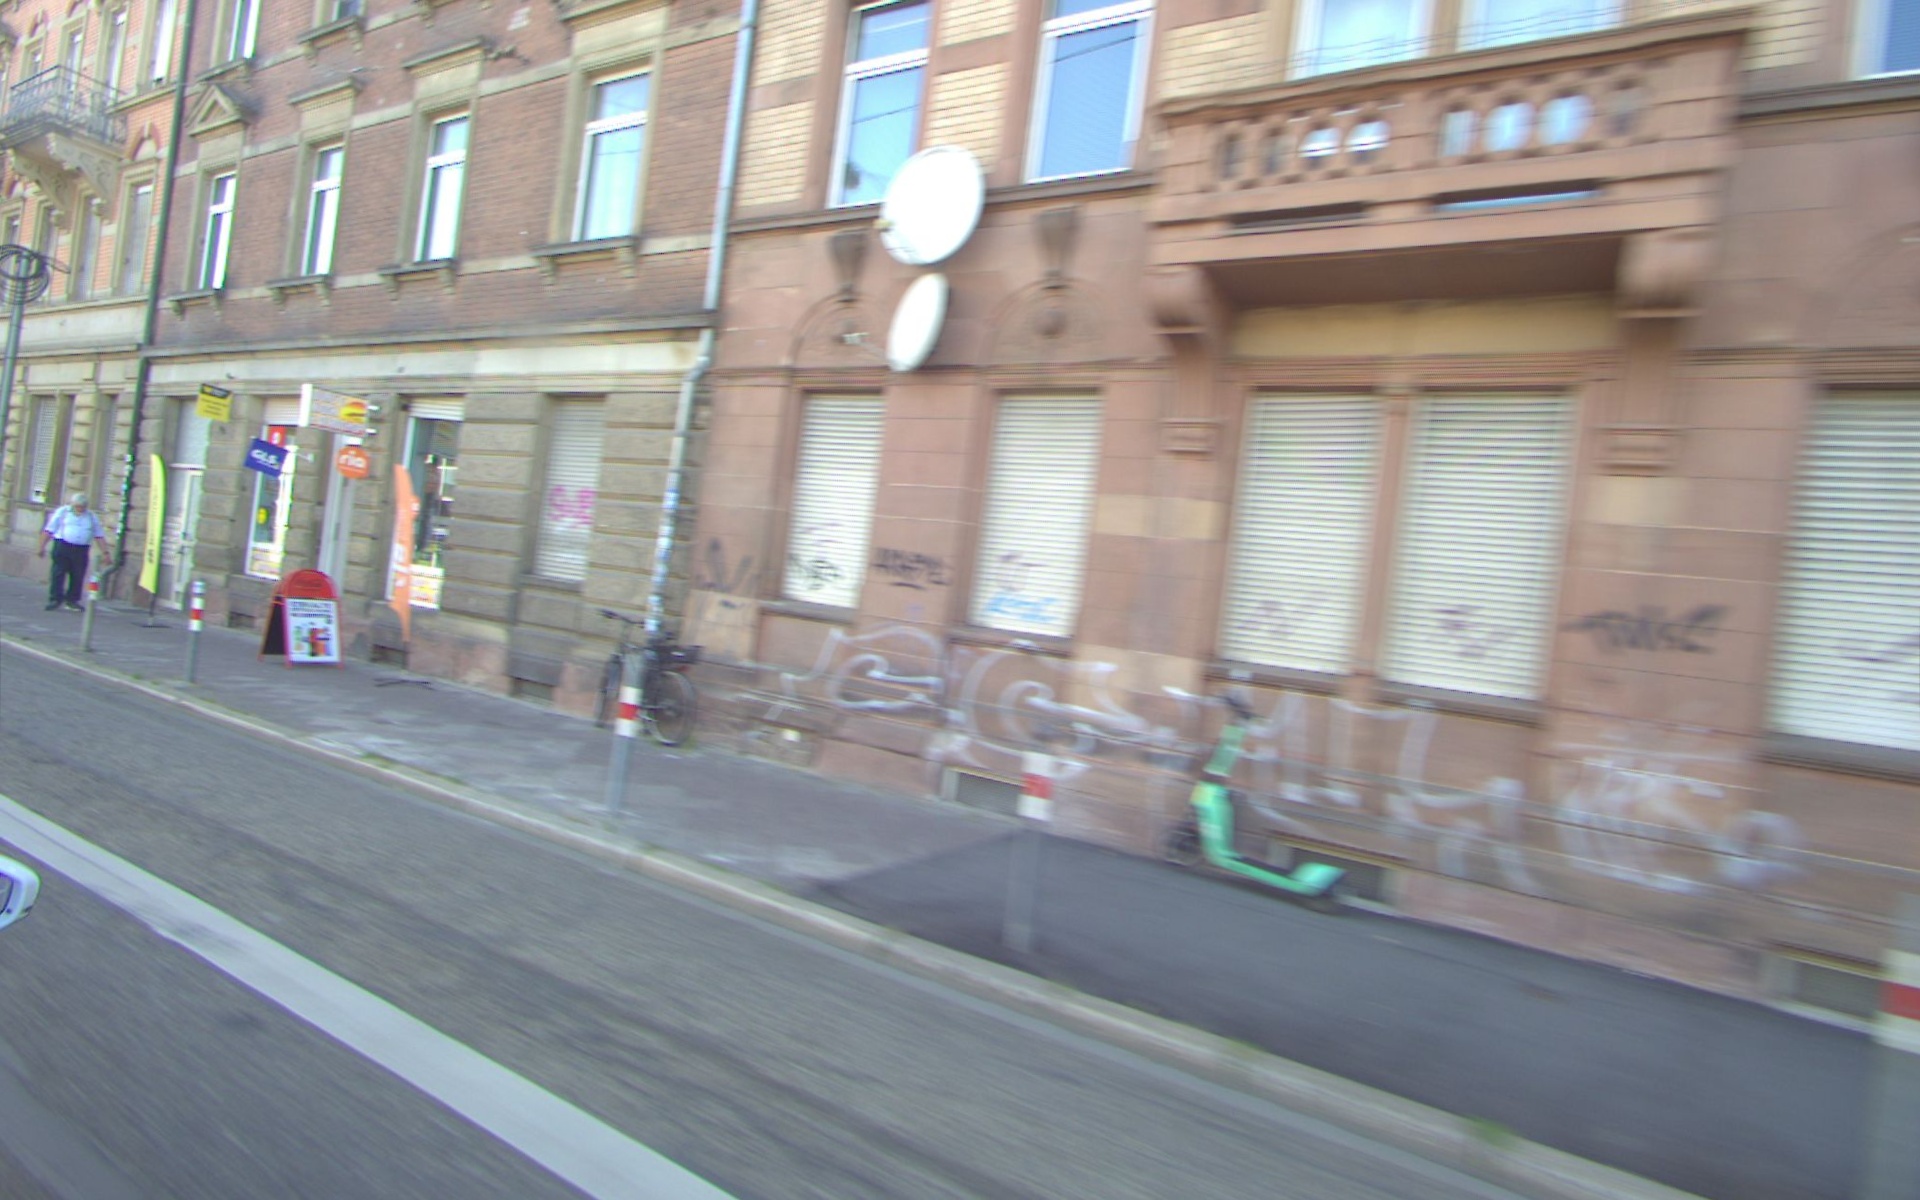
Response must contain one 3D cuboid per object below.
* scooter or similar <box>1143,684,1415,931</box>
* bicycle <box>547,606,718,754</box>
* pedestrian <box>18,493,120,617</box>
[{"bbox_3d":[1.961,1.226,6.275,1.456,1.226,0.406,6,0,32],"label":"scooter or similar"},{"bbox_3d":[-3.112,0.716,9.451,1.868,1.135,0.409,6,0,35],"label":"bicycle"},{"bbox_3d":[-12.675,-0.629,14.321,0.642,1.624,0.799,6,-1,33],"label":"pedestrian"}]
